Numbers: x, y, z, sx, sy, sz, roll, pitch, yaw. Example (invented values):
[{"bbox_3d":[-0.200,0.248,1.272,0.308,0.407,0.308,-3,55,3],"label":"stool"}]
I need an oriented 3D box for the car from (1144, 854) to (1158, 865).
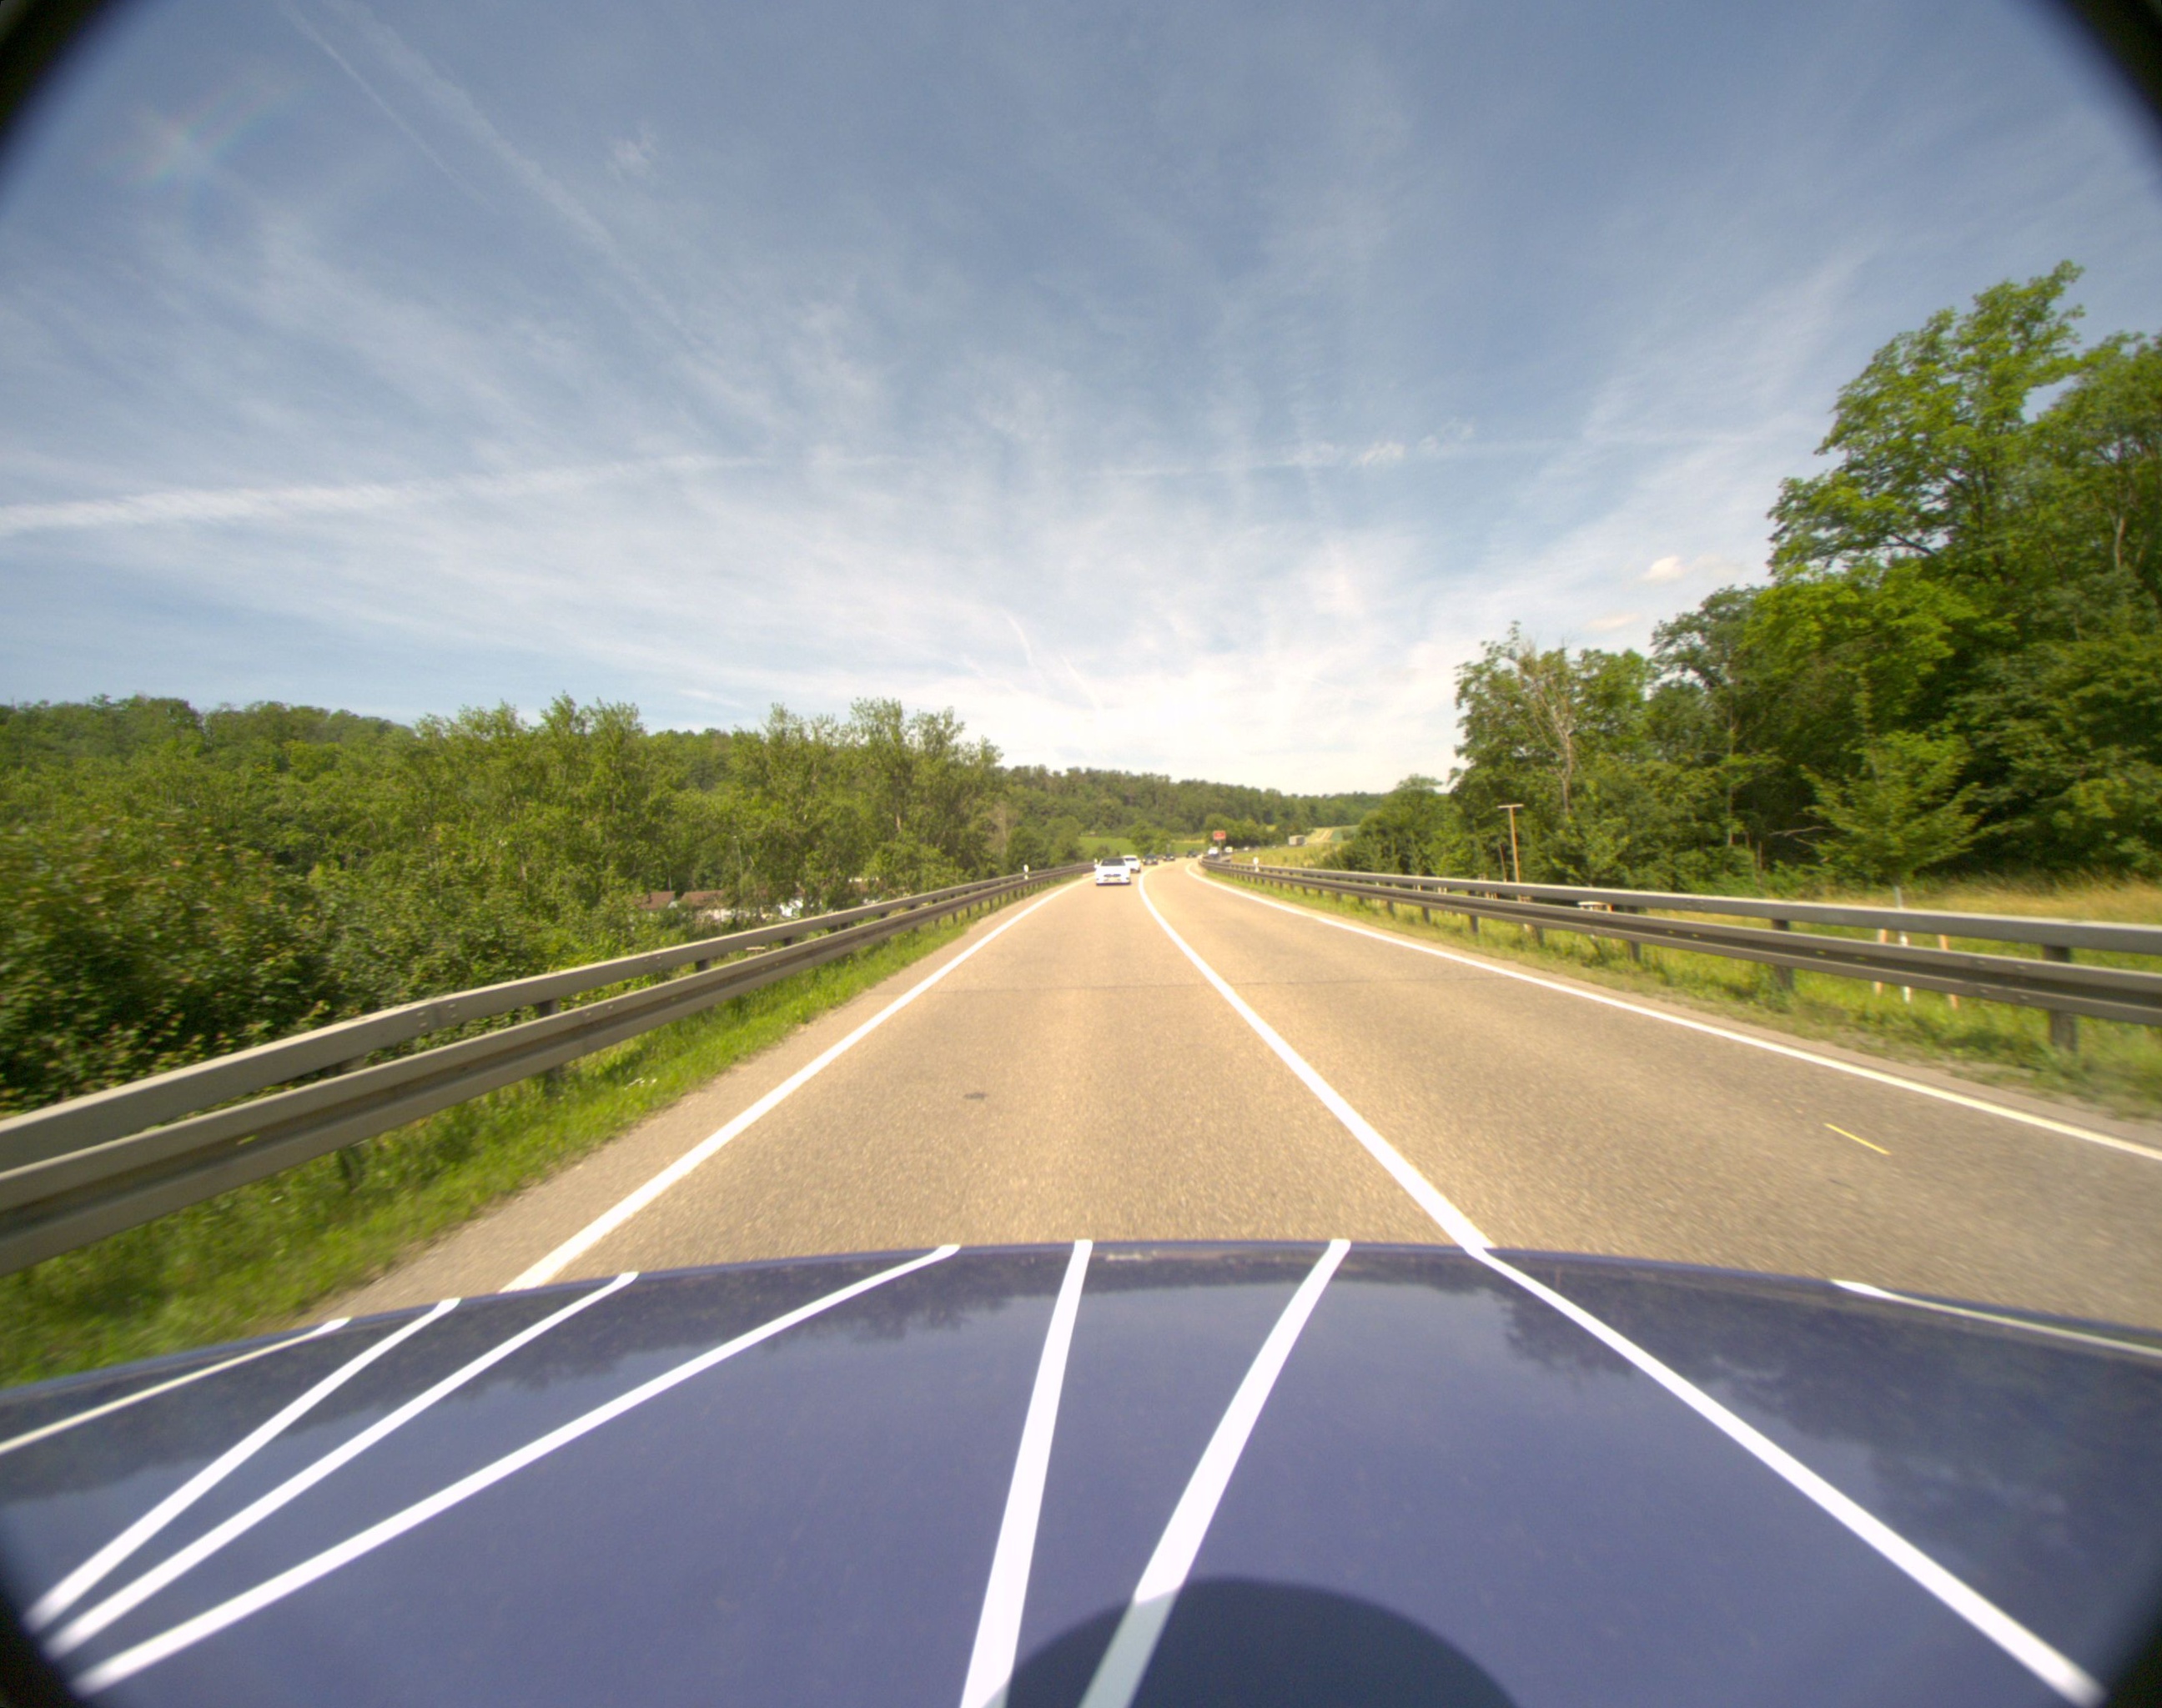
[{"bbox_3d":[9.377,0.722,102.115,1.742,1.445,4.037,-2,1,6],"label":"car"}]

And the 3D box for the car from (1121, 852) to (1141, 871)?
[{"bbox_3d":[4.415,0.614,67.194,1.717,1.523,4.000,-2,1,3],"label":"car"}]

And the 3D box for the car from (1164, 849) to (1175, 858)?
[{"bbox_3d":[15.144,-0.073,129.646,1.742,1.445,4.037,-2,1,5],"label":"car"}]

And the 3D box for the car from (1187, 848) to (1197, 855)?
[{"bbox_3d":[23.782,-0.521,162.649,1.741,1.445,4.039,-2,1,14],"label":"car"}]

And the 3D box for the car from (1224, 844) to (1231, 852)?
[{"bbox_3d":[37.271,-1.539,193.071,1.741,1.765,4.039,-2,1,13],"label":"car"}]

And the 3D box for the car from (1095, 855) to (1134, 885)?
[{"bbox_3d":[1.869,0.839,41.125,1.742,1.445,4.037,-2,1,7],"label":"car"}]
